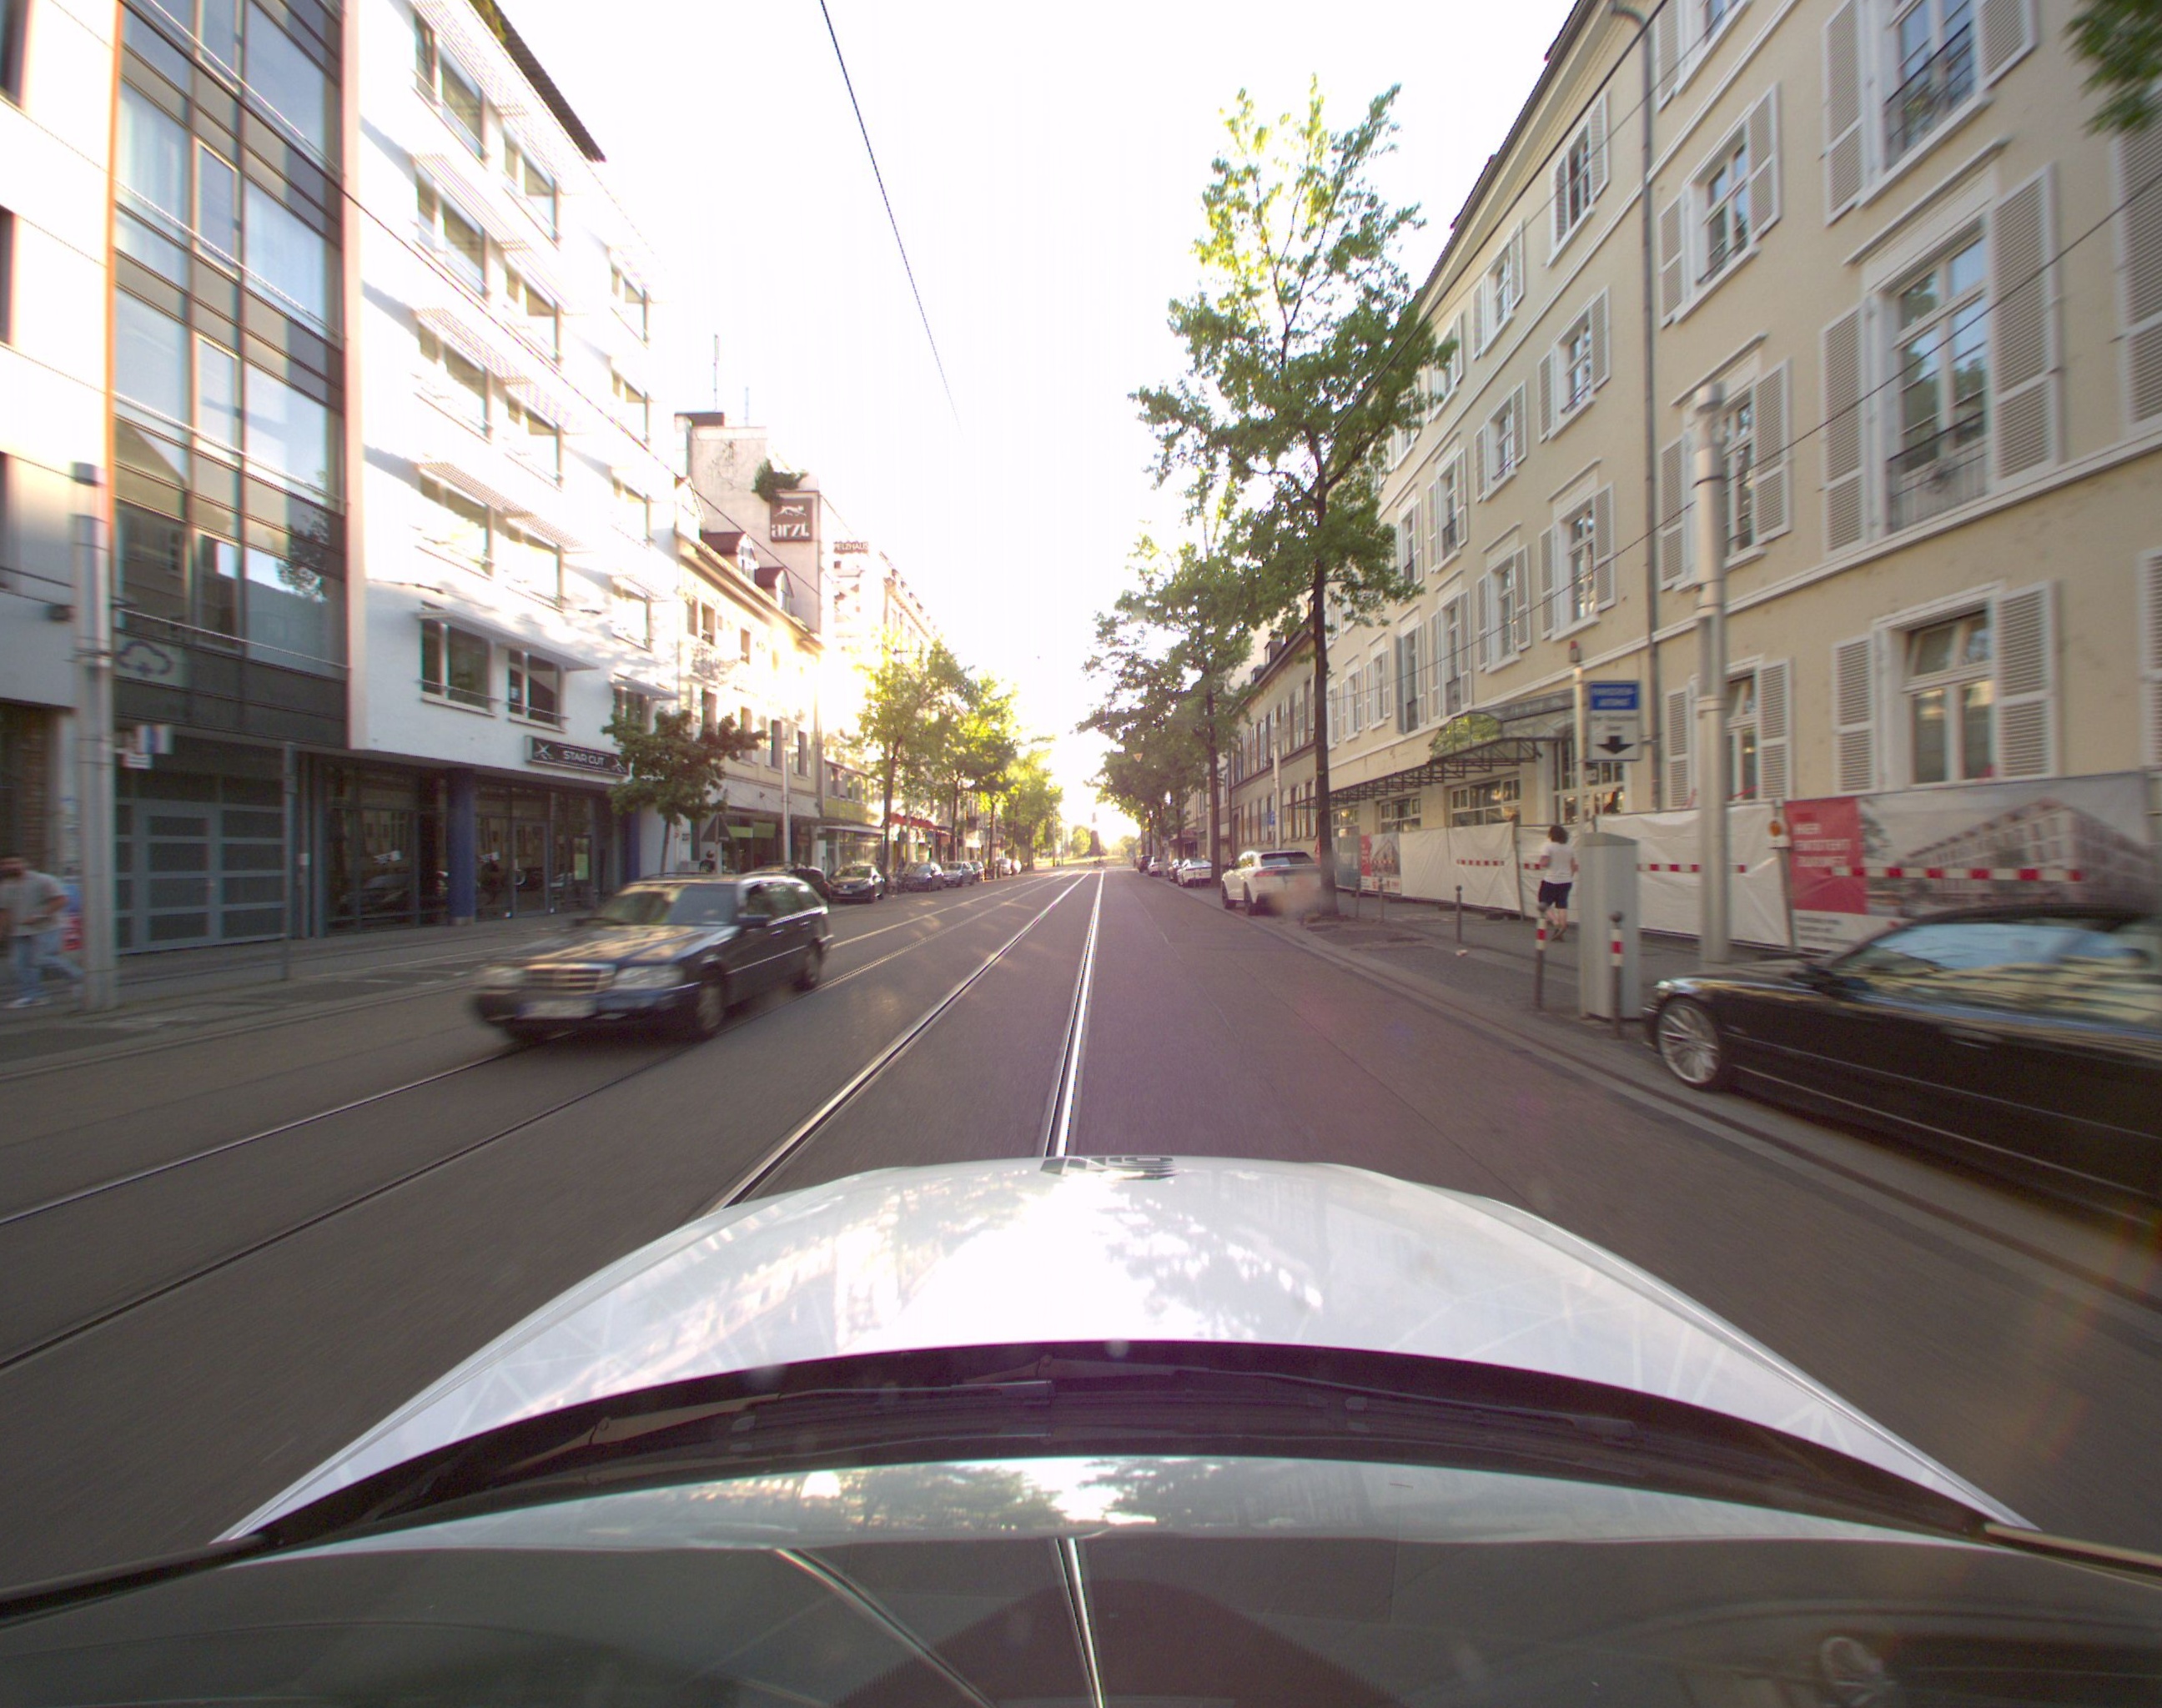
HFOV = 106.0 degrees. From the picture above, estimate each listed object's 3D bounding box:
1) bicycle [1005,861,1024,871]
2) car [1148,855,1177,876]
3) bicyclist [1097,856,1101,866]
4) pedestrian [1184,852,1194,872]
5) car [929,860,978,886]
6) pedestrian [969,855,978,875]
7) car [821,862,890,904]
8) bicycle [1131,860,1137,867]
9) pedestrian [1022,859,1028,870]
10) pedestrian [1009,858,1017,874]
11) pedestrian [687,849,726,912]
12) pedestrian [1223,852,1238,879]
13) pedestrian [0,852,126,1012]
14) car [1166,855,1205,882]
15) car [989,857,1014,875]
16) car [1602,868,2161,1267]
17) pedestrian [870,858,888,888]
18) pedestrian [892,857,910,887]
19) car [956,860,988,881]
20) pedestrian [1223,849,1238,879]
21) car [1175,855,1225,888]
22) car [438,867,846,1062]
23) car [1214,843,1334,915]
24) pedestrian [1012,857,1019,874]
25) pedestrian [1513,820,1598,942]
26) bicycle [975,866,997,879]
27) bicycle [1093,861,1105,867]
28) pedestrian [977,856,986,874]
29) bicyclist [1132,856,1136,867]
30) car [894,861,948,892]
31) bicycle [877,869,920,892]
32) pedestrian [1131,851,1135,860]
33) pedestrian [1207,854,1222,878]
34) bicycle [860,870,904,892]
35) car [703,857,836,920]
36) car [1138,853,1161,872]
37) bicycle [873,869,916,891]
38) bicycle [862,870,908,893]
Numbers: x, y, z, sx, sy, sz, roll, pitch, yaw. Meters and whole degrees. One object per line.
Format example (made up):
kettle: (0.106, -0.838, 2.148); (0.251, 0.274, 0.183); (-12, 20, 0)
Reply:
bicycle: (-7.562, 1.412, 92.762); (2.117, 1.105, 0.497); (1, -2, -24)
car: (6.622, 0.911, 66.659); (1.986, 1.498, 4.682); (-4, 0, 2)
bicyclist: (2.570, 1.002, 114.581); (0.534, 1.438, 0.367); (-1, 0, 1)
pedestrian: (9.311, 0.700, 70.052); (0.641, 1.670, 0.786); (-4, 0, 1)
car: (-7.494, 1.105, 48.225); (1.758, 1.497, 4.182); (-1, -1, 6)
pedestrian: (-10.591, 1.070, 80.213); (0.719, 2.014, 0.643); (-1, 0, 1)
car: (-8.698, 1.067, 31.778); (1.788, 1.490, 4.236); (1, 0, -4)
bicycle: (7.345, 1.312, 112.902); (0.262, 0.982, 1.346); (-1, 0, 25)
pedestrian: (-7.030, 1.326, 101.742); (0.726, 1.290, 0.856); (0, 0, -1)
pedestrian: (-6.322, 1.120, 75.504); (0.617, 1.509, 0.730); (-1, -1, 2)
pedestrian: (-11.052, 0.765, 24.055); (0.657, 1.825, 0.879); (2, 0, 2)
pedestrian: (9.361, 0.725, 50.972); (0.655, 1.665, 0.888); (-3, -1, 1)
pedestrian: (-11.583, 0.837, 9.172); (0.638, 1.713, 0.830); (0, 0, 5)
car: (6.344, 0.870, 49.984); (1.826, 1.478, 4.762); (-3, 0, 1)
car: (-7.634, 1.161, 78.526); (1.829, 1.580, 4.118); (3, 0, 2)
car: (4.805, 0.797, 3.994); (1.787, 1.311, 4.331); (-3, 0, 2)
pedestrian: (-11.632, 1.089, 46.944); (0.786, 1.693, 0.914); (-1, 0, 1)
pedestrian: (-10.455, 1.047, 47.205); (0.841, 1.693, 0.740); (-1, 0, 0)
car: (-7.819, 1.149, 58.788); (1.660, 1.428, 3.828); (2, 0, 1)
pedestrian: (7.916, 0.548, 43.249); (0.646, 1.573, 0.799); (-1, -1, 1)
car: (5.906, 0.831, 40.879); (1.905, 1.420, 4.890); (-3, 0, 2)
car: (-4.026, 0.883, 8.521); (1.773, 1.407, 4.527); (-1, 0, 0)
car: (5.186, 0.653, 22.659); (1.992, 1.688, 4.964); (-3, -1, -1)
pedestrian: (-6.120, 1.098, 76.301); (0.519, 1.569, 0.634); (-1, -1, 2)
pedestrian: (7.711, 0.423, 13.284); (0.710, 1.886, 1.053); (-2, 0, 2)
bicycle: (-7.389, 1.424, 63.068); (1.607, 0.965, 0.433); (1, 0, 6)
bicycle: (2.568, 1.399, 114.569); (1.725, 0.864, 0.367); (-1, 0, 1)
pedestrian: (-9.814, 1.055, 80.164); (0.719, 1.760, 1.090); (-1, 0, 2)
bicyclist: (7.337, 1.008, 112.888); (0.424, 1.481, 0.468); (-1, 0, 24)
car: (-8.148, 1.110, 41.867); (1.705, 1.461, 4.488); (1, 0, 2)
bicycle: (-8.569, 1.245, 38.287); (1.962, 1.001, 0.331); (-1, -1, 4)
pedestrian: (9.483, 0.215, 148.408); (0.634, 1.606, 0.771); (-1, 0, -1)
pedestrian: (10.002, 0.877, 61.121); (0.855, 1.753, 0.933); (-4, 0, 1)
bicycle: (-9.247, 1.237, 37.858); (1.961, 1.001, 0.420); (-1, -1, 5)
car: (-8.917, 0.926, 23.640); (1.618, 1.616, 3.724); (1, 0, 16)
car: (7.067, 0.903, 84.159); (1.931, 1.759, 4.681); (-4, 0, 1)
bicycle: (-8.856, 1.250, 38.679); (1.962, 1.001, 0.331); (-1, -1, 3)
bicycle: (-8.801, 1.226, 36.597); (1.962, 1.001, 0.331); (-1, -1, 4)
